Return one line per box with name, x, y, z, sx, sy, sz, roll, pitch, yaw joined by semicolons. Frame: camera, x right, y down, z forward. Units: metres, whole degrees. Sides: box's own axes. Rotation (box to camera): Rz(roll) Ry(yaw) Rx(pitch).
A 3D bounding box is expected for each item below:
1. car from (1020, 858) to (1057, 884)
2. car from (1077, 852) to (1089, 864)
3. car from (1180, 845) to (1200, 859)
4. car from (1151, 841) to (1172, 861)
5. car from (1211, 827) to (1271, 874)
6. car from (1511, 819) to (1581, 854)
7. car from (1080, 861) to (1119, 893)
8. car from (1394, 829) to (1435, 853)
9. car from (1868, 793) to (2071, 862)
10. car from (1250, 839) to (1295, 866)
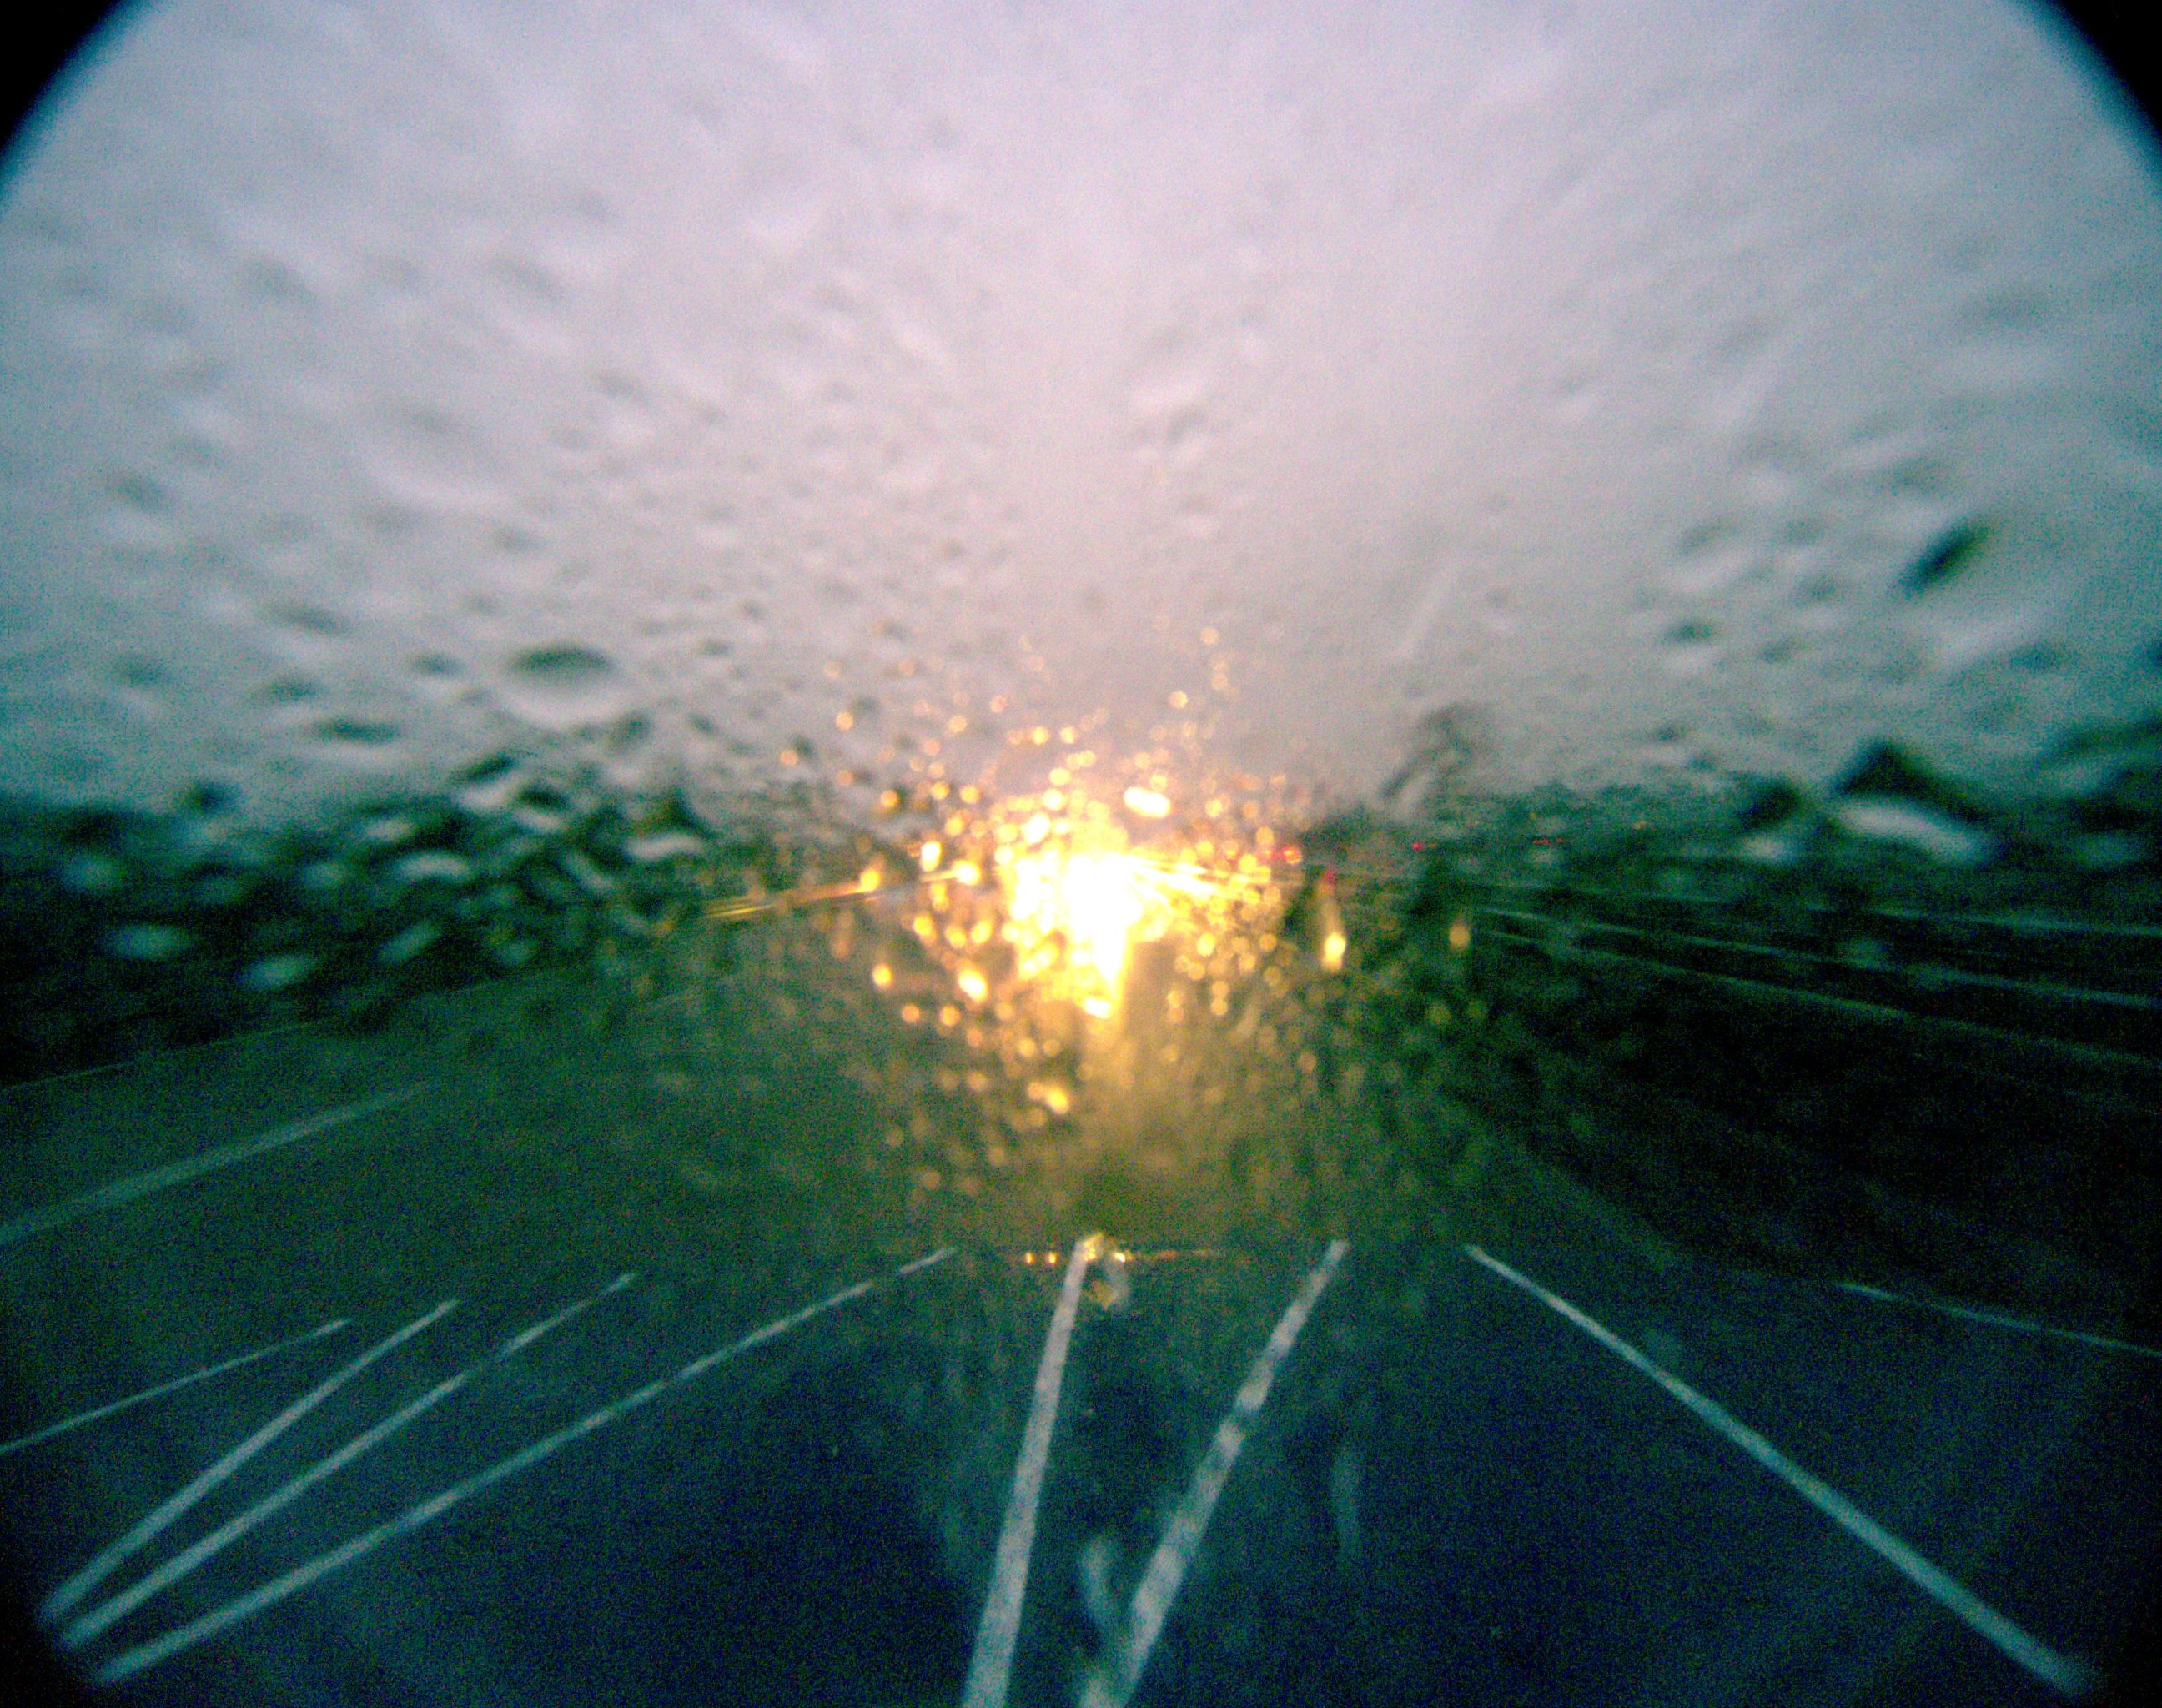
car;-2.639;1.026;48.074;1.850;1.521;4.150;-2;0;3
car;0.353;0.729;132.036;1.998;2.002;4.000;-3;0;2
car;14.180;-0.272;99.193;1.998;1.587;4.656;-2;0;2
car;9.488;-0.384;89.975;1.998;2.202;5.053;-2;0;2
car;7.969;-0.149;38.227;1.998;2.123;5.200;-2;0;1
car;29.322;-1.102;48.074;1.998;2.002;4.000;-3;1;2
car;0.960;1.128;38.745;1.850;1.521;4.149;-2;0;2
car;29.923;-1.130;68.337;1.998;2.001;4.001;-2;0;2
car;28.967;-0.806;24.999;1.998;2.002;4.000;-2;0;1
car;12.424;-0.091;49.626;1.840;1.626;4.545;-2;0;1
